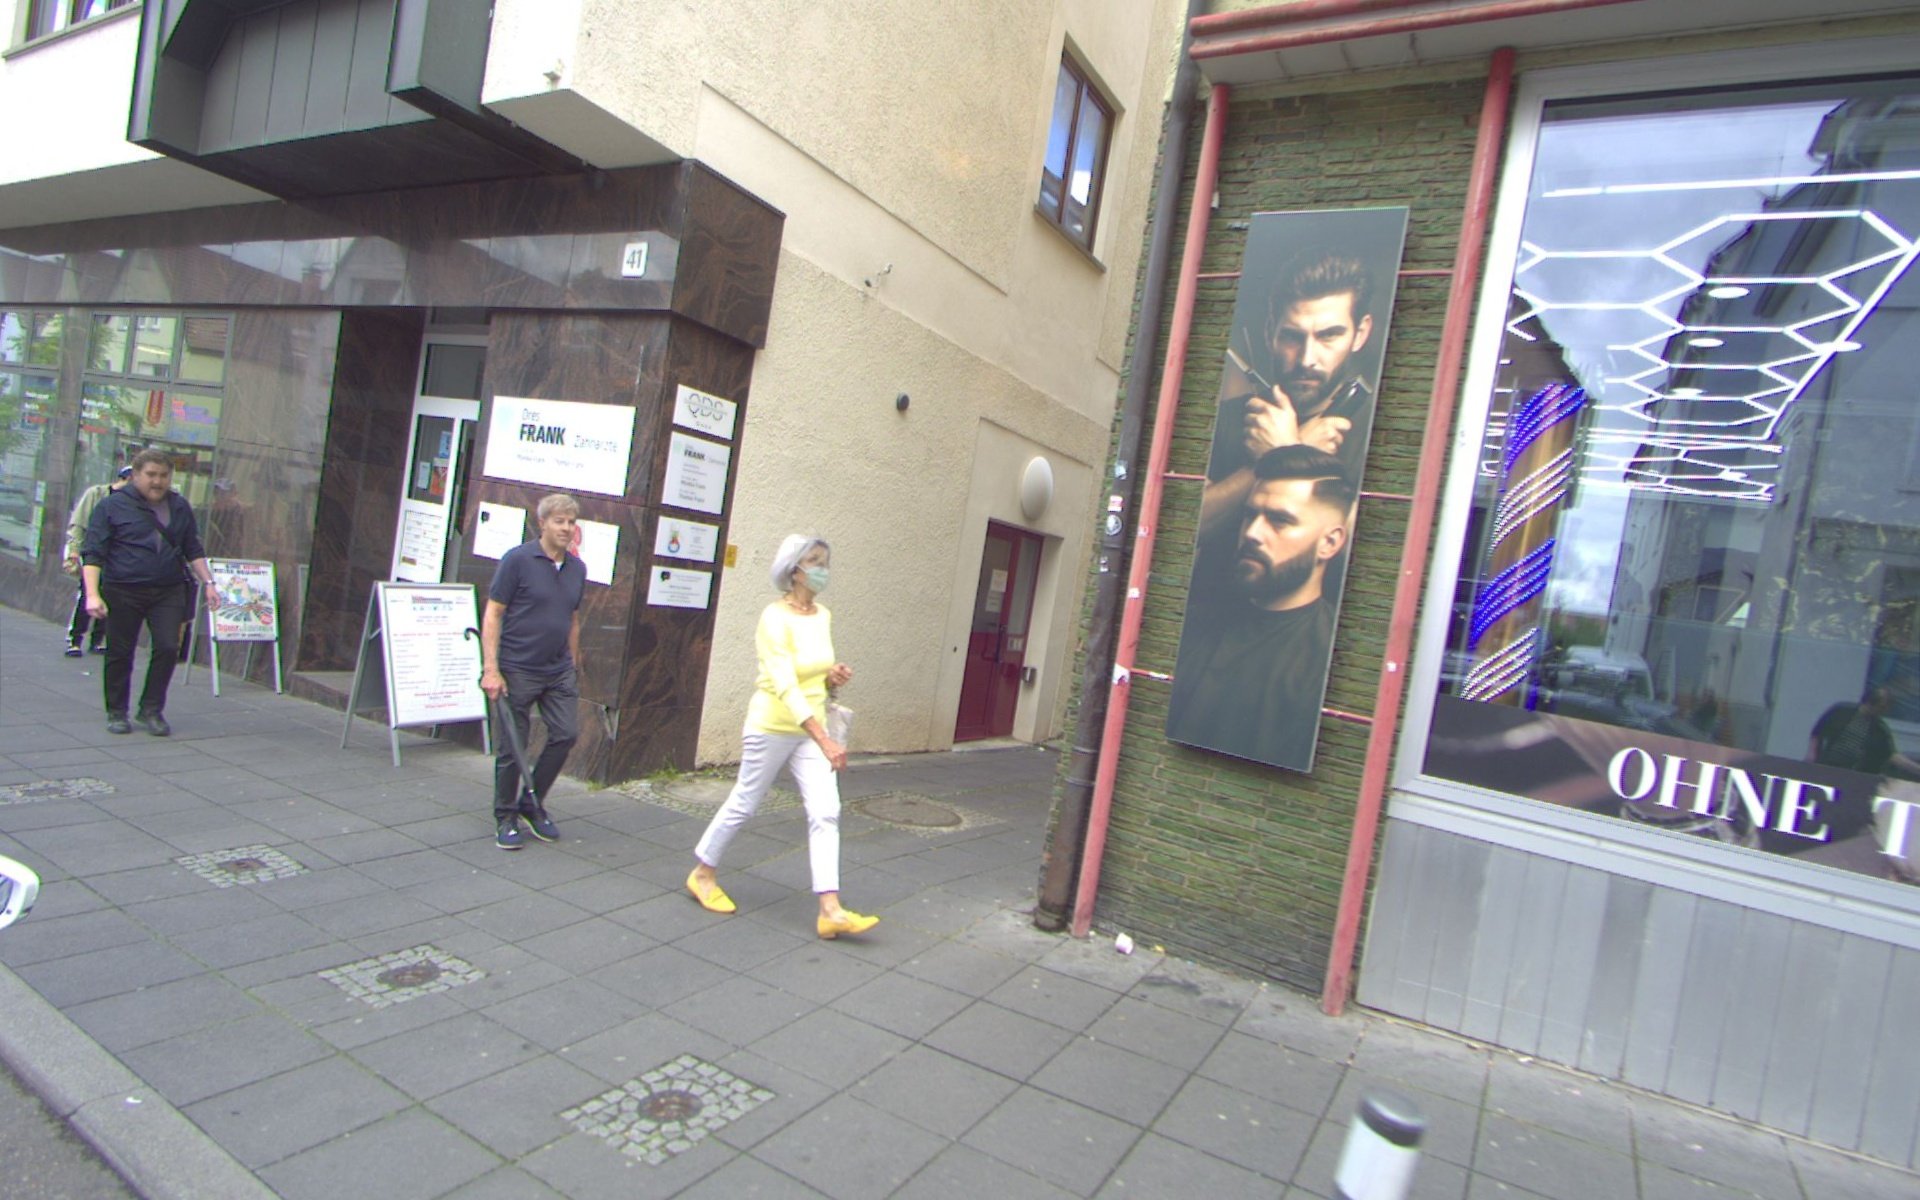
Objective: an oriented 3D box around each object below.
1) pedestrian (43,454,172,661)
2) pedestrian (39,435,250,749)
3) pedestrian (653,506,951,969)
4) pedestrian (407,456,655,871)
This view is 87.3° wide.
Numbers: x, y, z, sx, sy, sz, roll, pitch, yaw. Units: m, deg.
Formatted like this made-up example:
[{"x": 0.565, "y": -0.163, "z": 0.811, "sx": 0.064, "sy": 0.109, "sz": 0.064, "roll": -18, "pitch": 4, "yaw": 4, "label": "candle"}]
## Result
[{"x": -7.486, "y": -0.366, "z": 8.848, "sx": 0.533, "sy": 1.712, "sz": 0.663, "roll": 7, "pitch": 4, "yaw": 25, "label": "pedestrian"}, {"x": -5.016, "y": -0.058, "z": 6.197, "sx": 0.774, "sy": 1.776, "sz": 0.711, "roll": 7, "pitch": 3, "yaw": 31, "label": "pedestrian"}, {"x": -0.647, "y": 0.499, "z": 4.162, "sx": 0.821, "sy": 1.653, "sz": 0.711, "roll": 7, "pitch": 3, "yaw": 31, "label": "pedestrian"}, {"x": -2.054, "y": 0.258, "z": 4.829, "sx": 0.772, "sy": 1.778, "sz": 0.710, "roll": 7, "pitch": 5, "yaw": 31, "label": "pedestrian"}]
